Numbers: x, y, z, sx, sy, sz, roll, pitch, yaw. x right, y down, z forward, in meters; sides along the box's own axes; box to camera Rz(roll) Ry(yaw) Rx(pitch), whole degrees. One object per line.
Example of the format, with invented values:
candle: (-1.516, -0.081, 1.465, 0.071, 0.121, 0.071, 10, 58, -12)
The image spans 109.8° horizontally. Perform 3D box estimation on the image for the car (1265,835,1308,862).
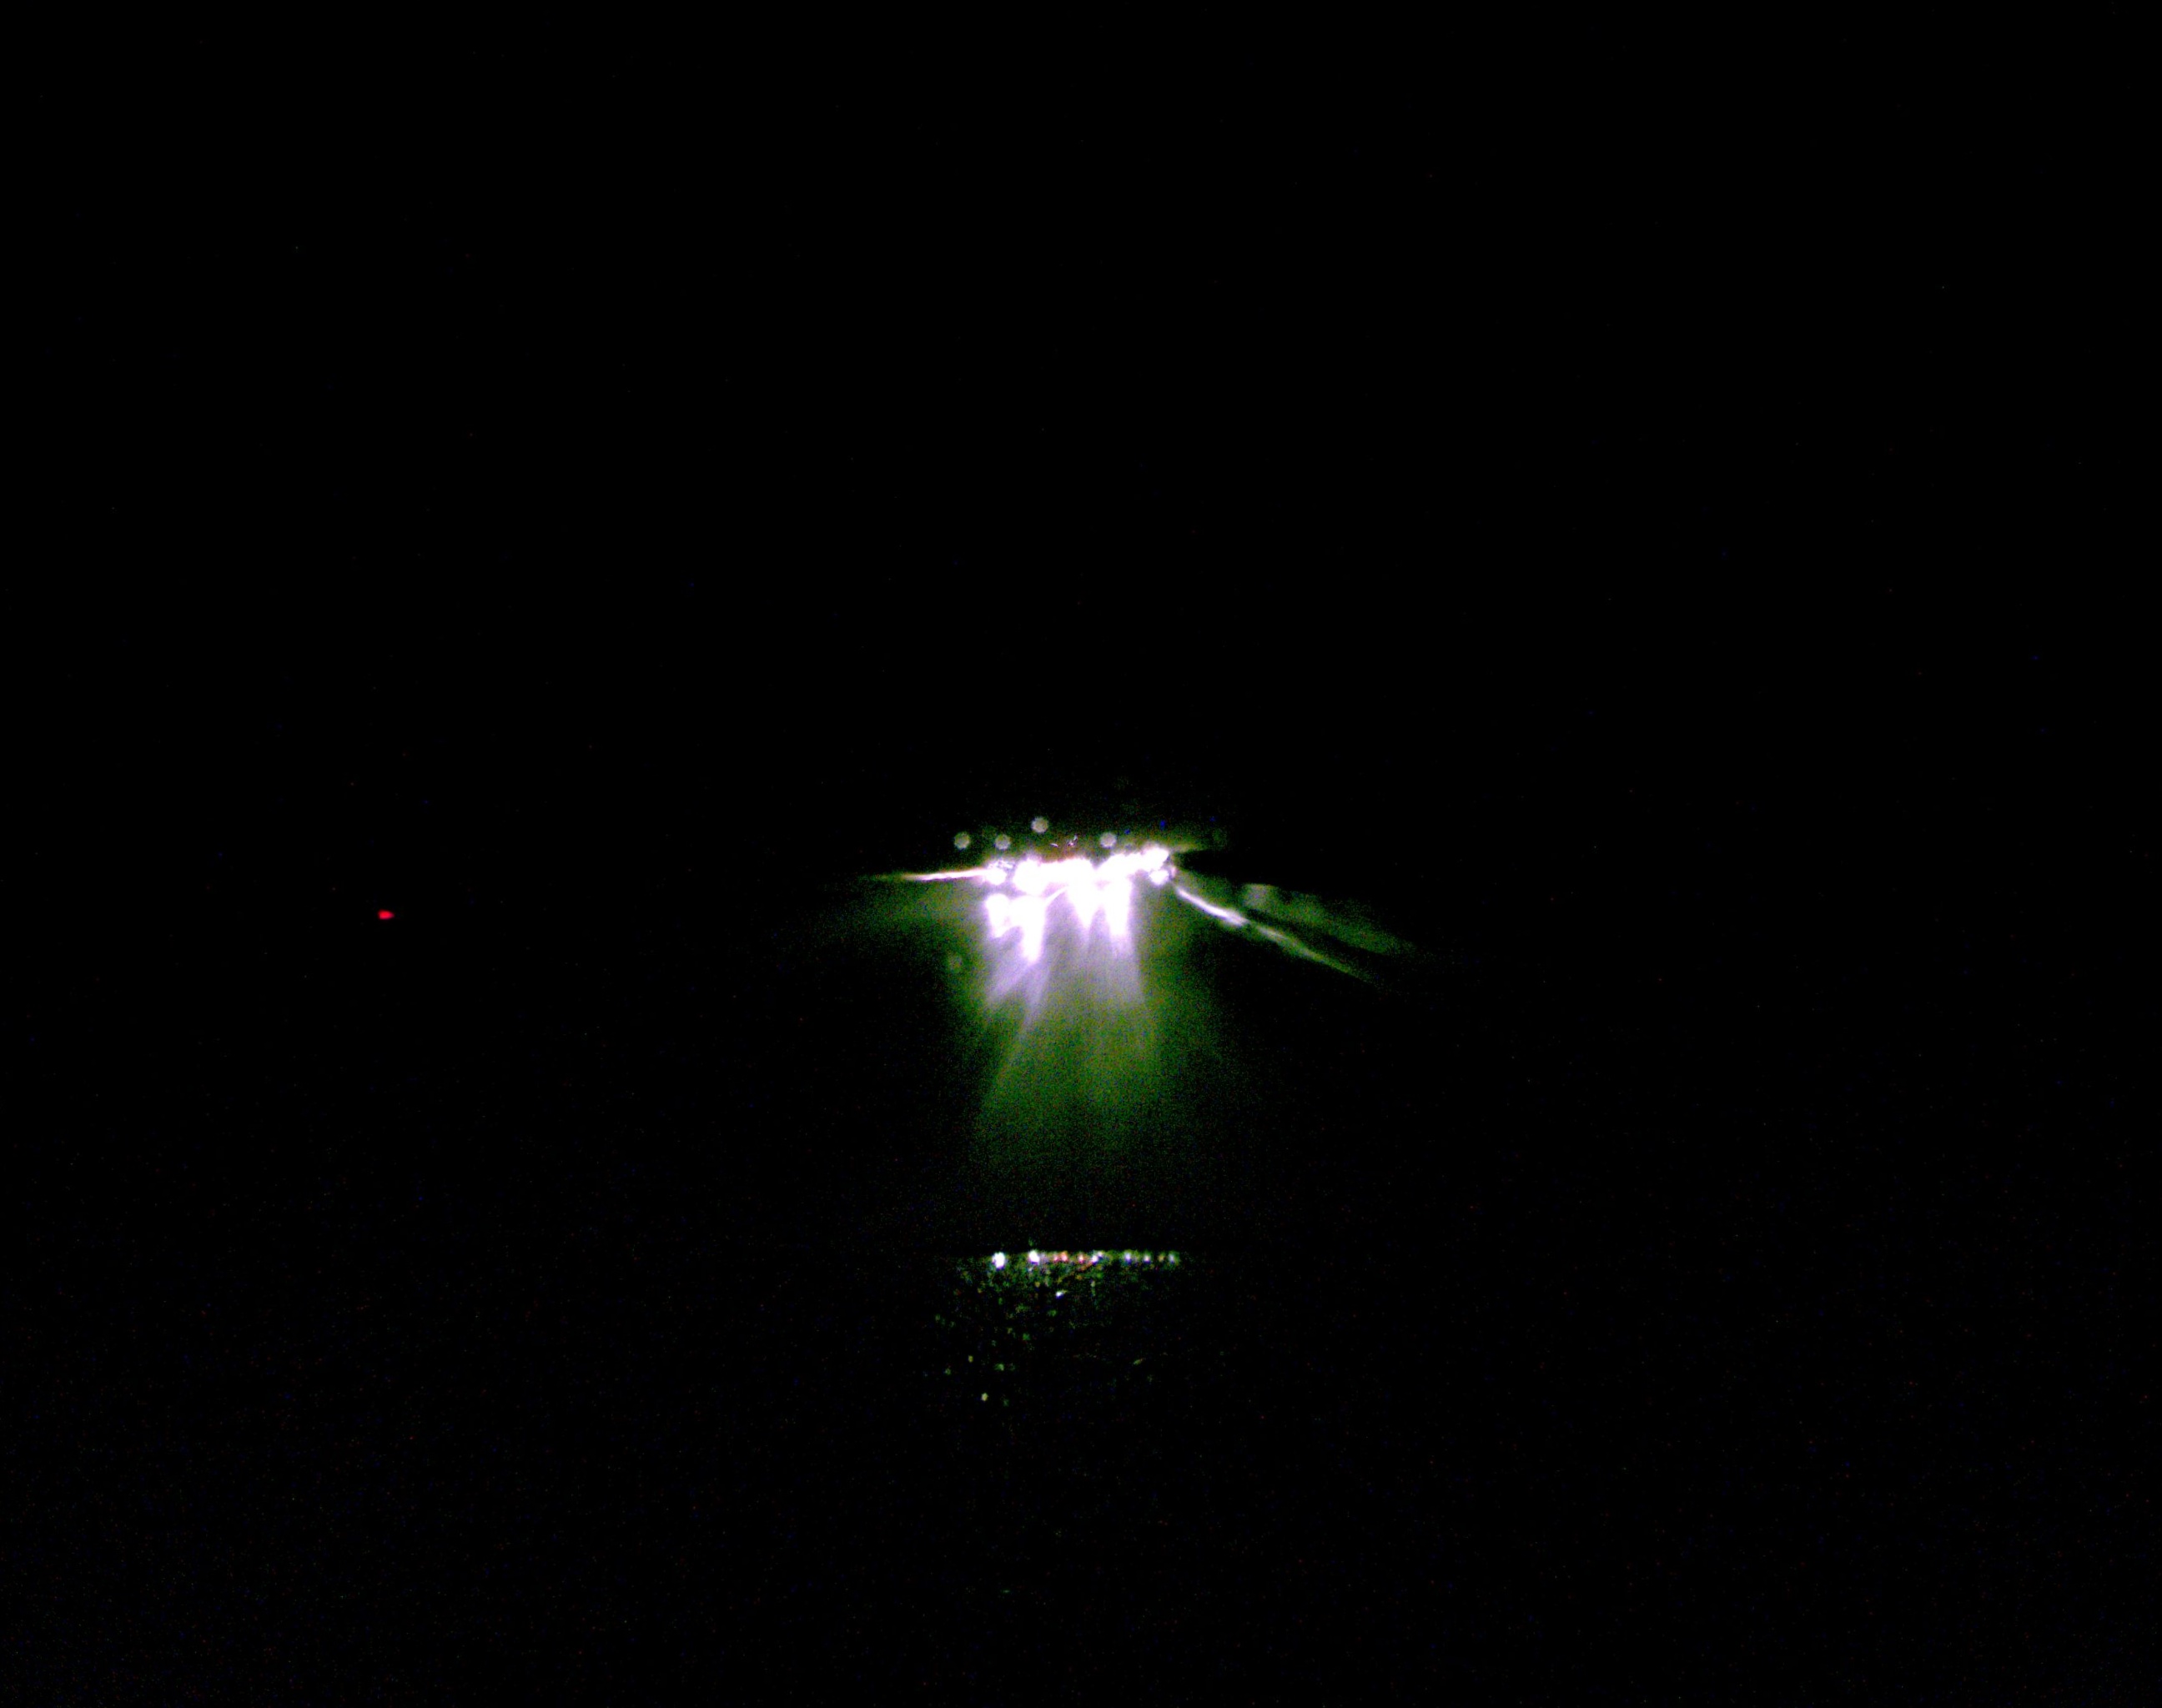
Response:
car: (15.126, -0.362, 56.127, 1.998, 1.674, 4.001, -6, -1, 2)

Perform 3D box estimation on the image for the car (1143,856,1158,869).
car: (11.395, 1.393, 124.174, 1.998, 1.802, 4.001, -6, -1, 1)

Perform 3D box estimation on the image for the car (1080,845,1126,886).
car: (1.307, 0.633, 42.604, 1.997, 2.001, 4.003, -5, -1, 7)

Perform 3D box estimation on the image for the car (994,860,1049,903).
car: (-2.563, 1.187, 33.712, 1.847, 1.614, 3.680, -5, -1, 3)

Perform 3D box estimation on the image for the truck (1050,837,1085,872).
truck: (-1.590, 0.049, 92.912, 2.780, 3.945, 5.203, -7, -1, 13)

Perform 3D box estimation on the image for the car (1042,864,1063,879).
car: (-4.289, 2.630, 114.270, 1.997, 2.001, 4.004, -7, -1, 12)
